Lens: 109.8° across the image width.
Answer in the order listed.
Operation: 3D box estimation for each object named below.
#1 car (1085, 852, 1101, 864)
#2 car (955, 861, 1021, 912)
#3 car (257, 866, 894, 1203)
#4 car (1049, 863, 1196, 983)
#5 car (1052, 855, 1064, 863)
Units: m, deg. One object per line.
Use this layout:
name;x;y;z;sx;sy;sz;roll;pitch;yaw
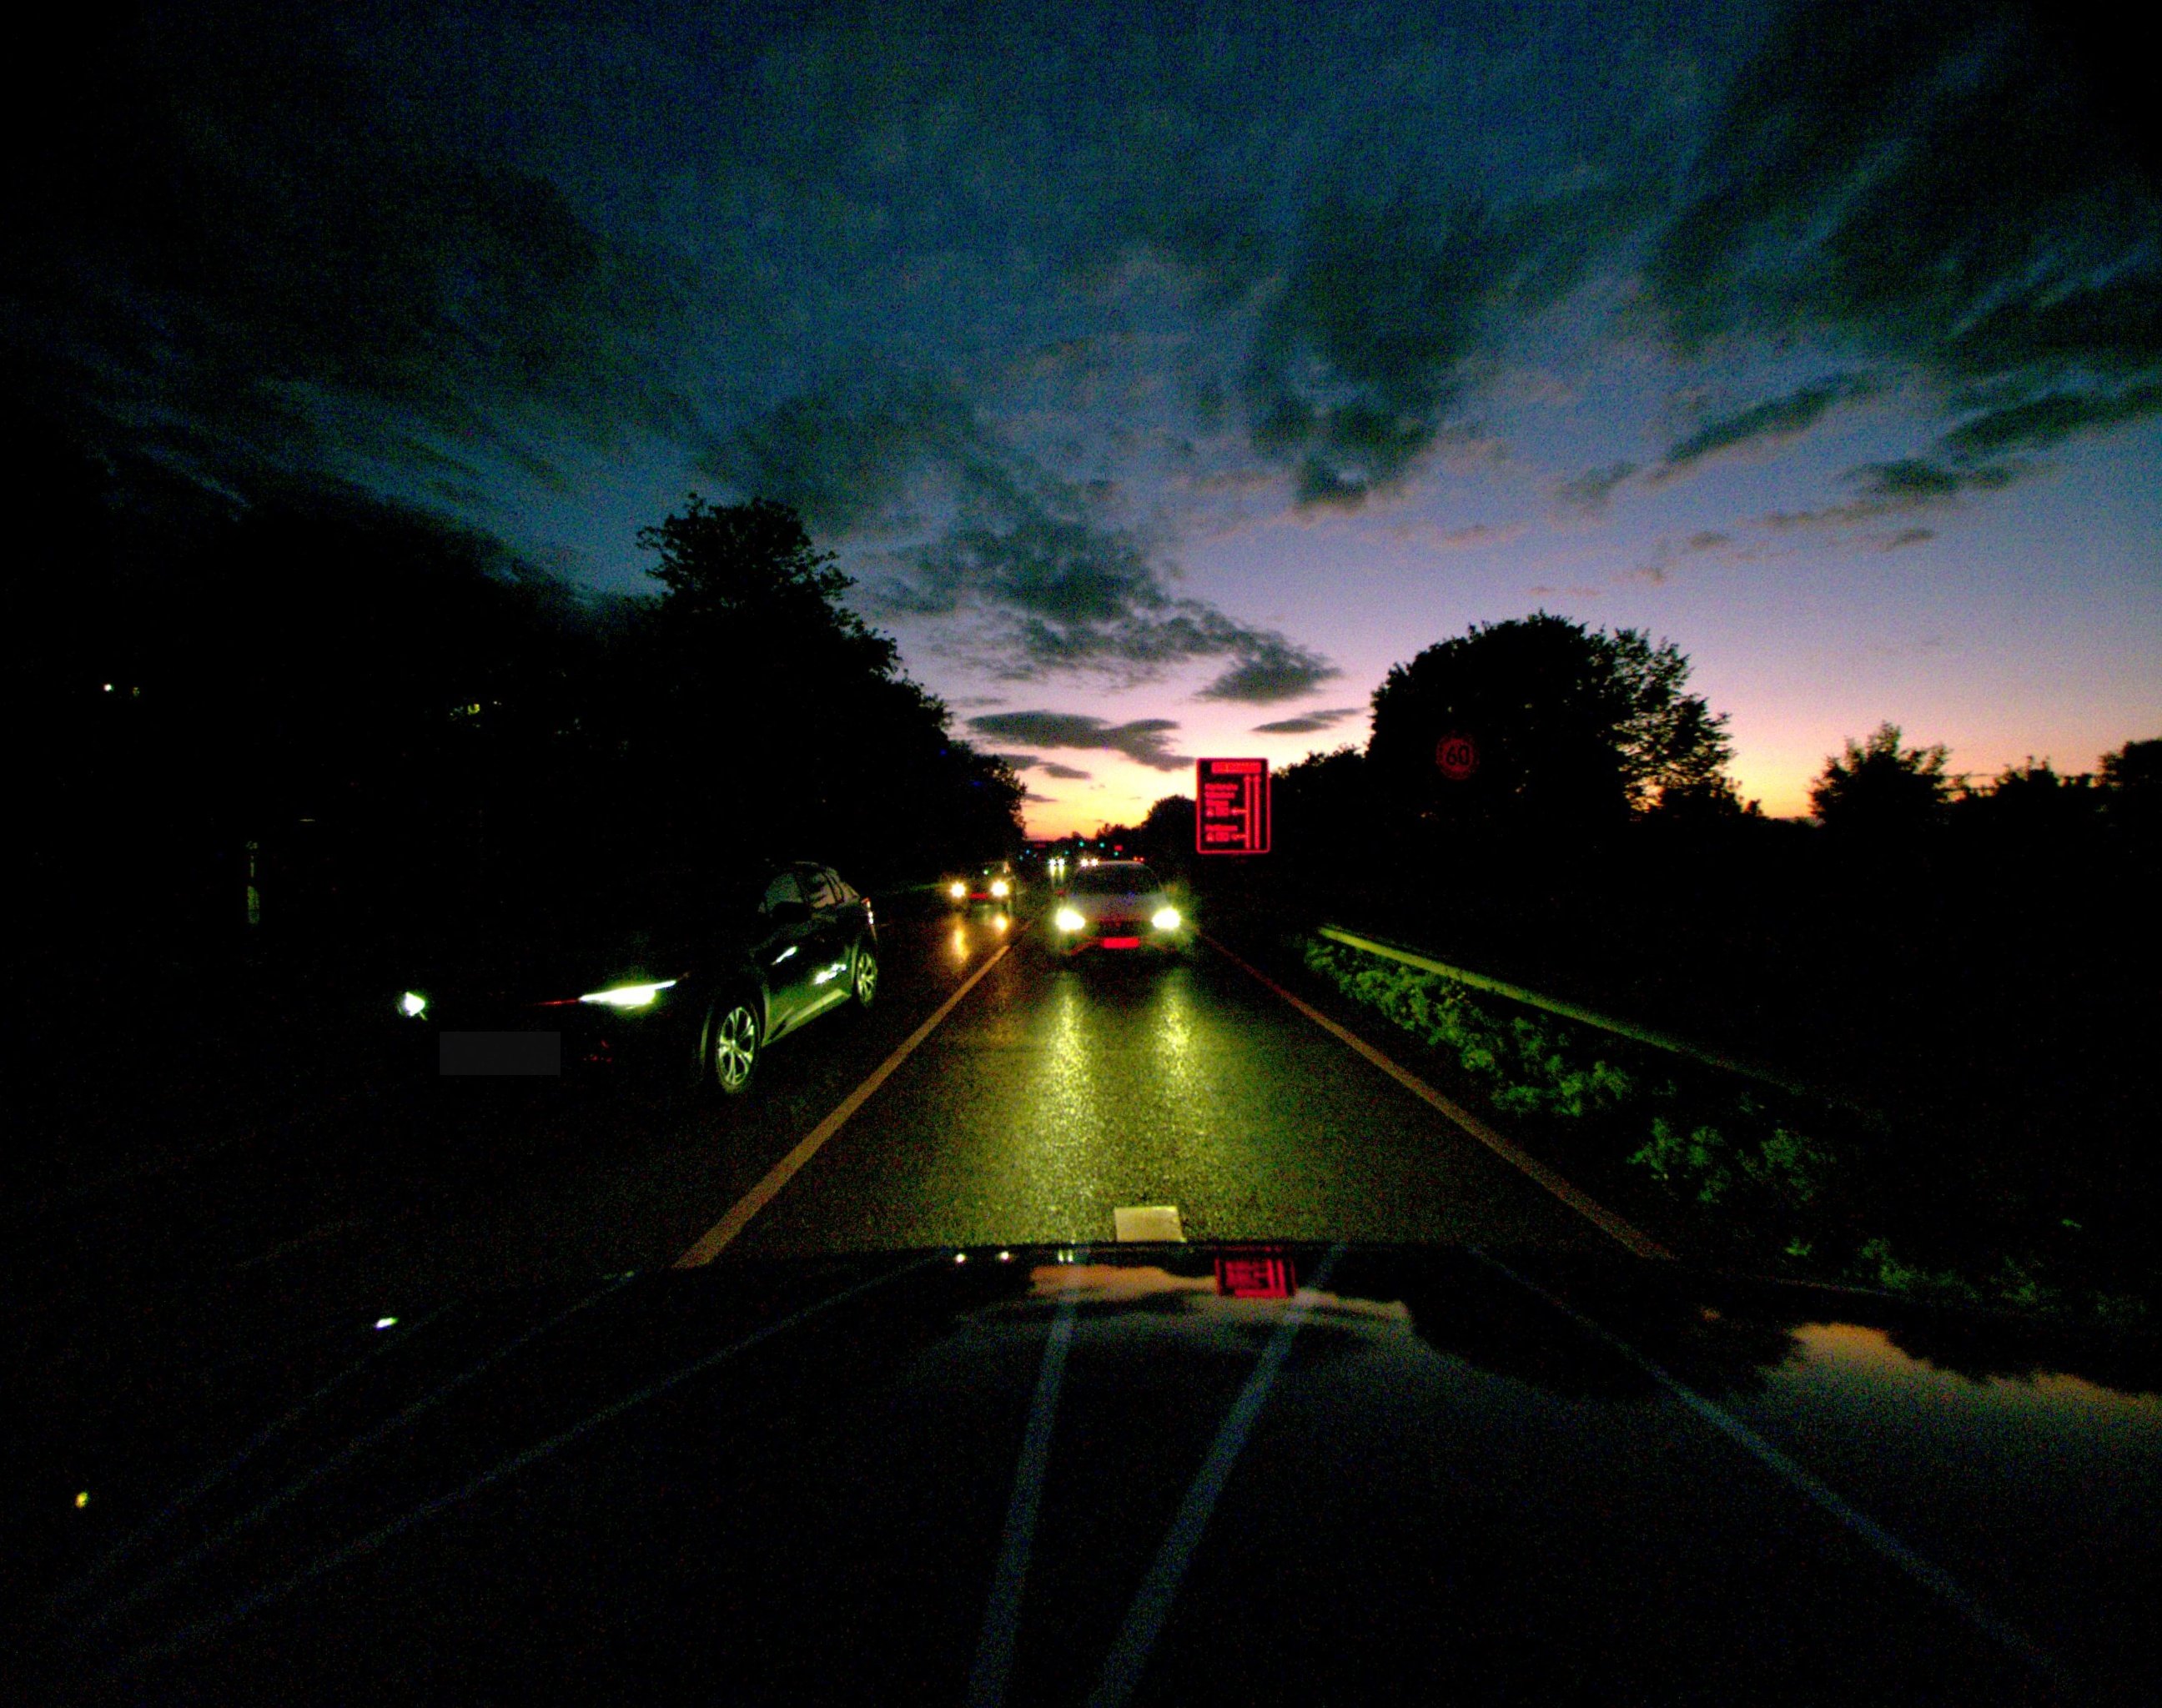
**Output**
car;1.649;0.586;105.777;1.999;1.602;4.501;-1;0;-1
car;-2.985;1.001;25.078;1.624;1.460;3.871;-2;0;1
car;-3.179;0.972;6.263;1.998;1.600;4.711;-2;0;1
car;0.545;0.930;12.257;1.901;1.472;4.514;-2;0;0
car;-3.920;0.832;131.858;1.999;1.423;4.501;0;0;-1
